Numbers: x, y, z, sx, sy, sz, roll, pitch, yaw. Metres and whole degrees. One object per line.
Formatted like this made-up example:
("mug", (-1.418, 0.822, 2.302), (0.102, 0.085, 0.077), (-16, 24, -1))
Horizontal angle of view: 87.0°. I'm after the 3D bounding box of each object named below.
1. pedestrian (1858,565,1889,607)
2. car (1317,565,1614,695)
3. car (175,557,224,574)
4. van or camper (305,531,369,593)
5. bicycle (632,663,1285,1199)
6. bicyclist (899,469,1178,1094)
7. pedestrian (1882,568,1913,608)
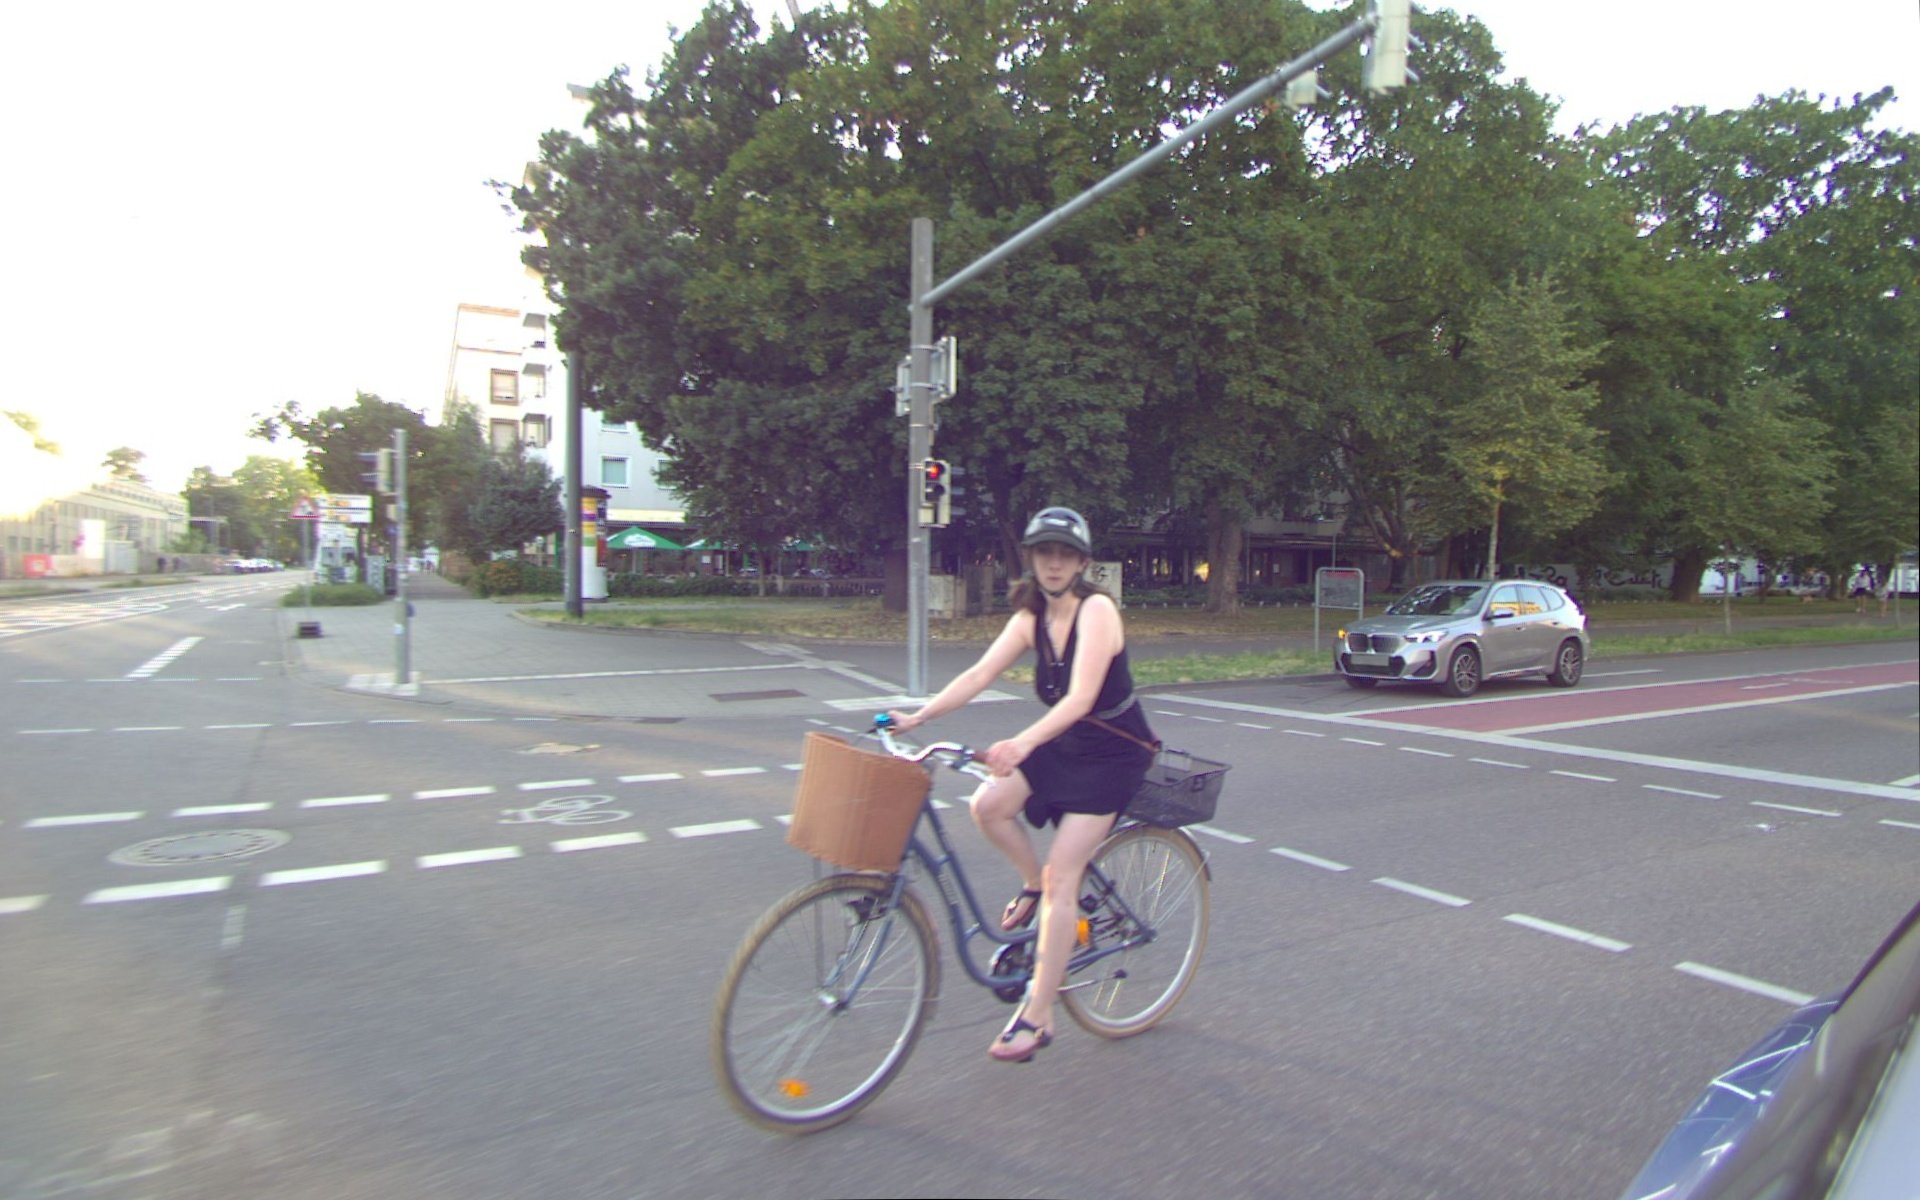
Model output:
("pedestrian", (35.294, -0.552, 39.116), (0.663, 1.614, 0.647), (0, 2, -26))
("car", (7.579, 0.343, 15.103), (4.258, 1.684, 1.890), (-1, 2, -29))
("car", (-76.491, -3.471, 101.850), (3.733, 1.669, 1.866), (-1, 2, -29))
("van or camper", (-28.648, -1.749, 46.656), (2.069, 2.714, 4.718), (0, 2, -27))
("bicycle", (0.134, 0.837, 3.018), (2.050, 1.128, 0.609), (-1, 2, -41))
("bicyclist", (0.232, 0.469, 3.097), (0.586, 1.656, 0.609), (-1, 2, -41))
("pedestrian", (35.556, -0.461, 38.389), (0.633, 1.515, 0.679), (0, 2, -27))
